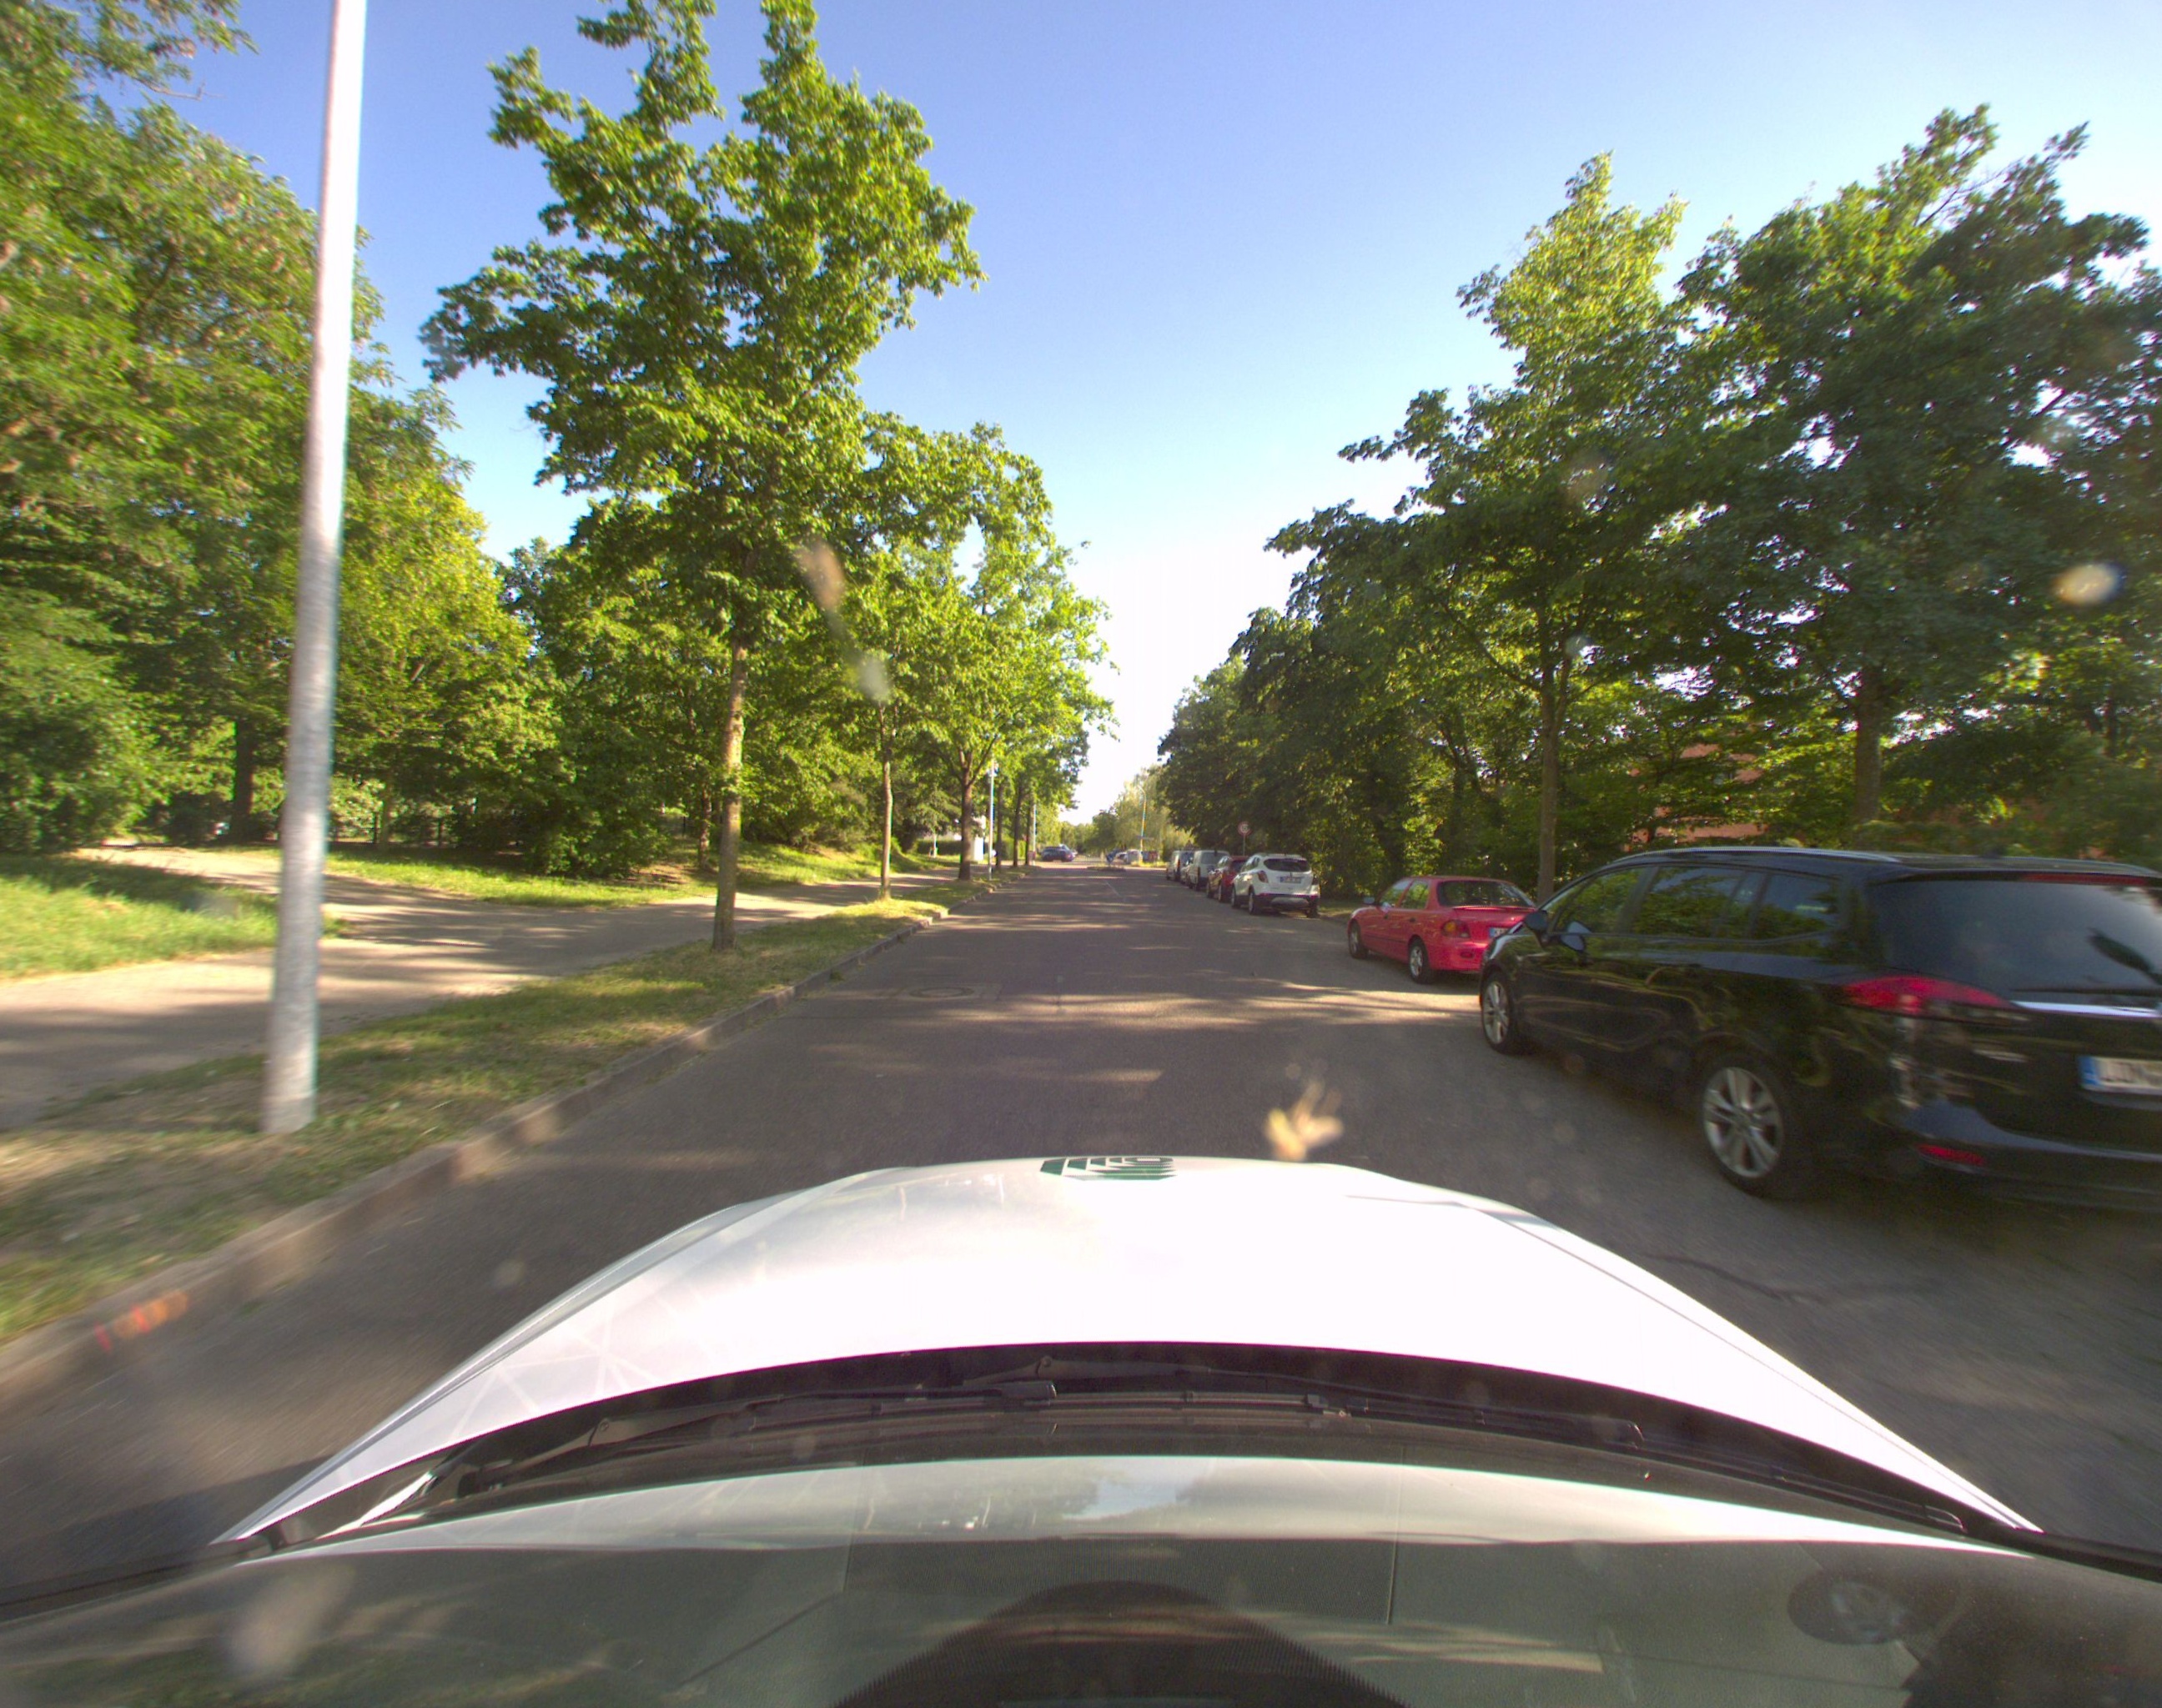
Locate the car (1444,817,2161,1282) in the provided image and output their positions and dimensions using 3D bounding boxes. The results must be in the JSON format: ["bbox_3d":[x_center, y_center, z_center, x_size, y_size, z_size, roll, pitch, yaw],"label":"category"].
[{"bbox_3d":[4.091,0.743,5.203,1.802,1.651,4.426,3,0,5],"label":"car"}]

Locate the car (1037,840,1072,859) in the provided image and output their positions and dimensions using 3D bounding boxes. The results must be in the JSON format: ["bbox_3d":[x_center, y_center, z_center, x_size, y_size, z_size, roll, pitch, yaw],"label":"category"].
[{"bbox_3d":[-4.156,-0.711,126.473,5.190,2.621,2.290,3,0,-5],"label":"car"}]

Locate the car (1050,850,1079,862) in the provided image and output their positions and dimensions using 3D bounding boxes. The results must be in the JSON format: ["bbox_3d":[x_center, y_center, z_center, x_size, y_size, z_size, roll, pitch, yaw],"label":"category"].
[{"bbox_3d":[-2.363,0.289,117.521,4.090,1.576,1.960,3,0,2],"label":"car"}]

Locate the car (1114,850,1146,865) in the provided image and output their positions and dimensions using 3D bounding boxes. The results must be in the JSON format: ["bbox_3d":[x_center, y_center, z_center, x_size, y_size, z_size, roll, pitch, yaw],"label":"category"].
[{"bbox_3d":[6.005,0.400,99.500,3.818,1.576,1.692,3,0,7],"label":"car"}]

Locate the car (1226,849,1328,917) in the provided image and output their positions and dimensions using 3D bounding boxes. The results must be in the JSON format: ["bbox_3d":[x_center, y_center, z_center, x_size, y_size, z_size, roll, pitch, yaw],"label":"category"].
[{"bbox_3d":[5.365,0.737,22.847,1.770,1.621,4.063,3,0,-1],"label":"car"}]

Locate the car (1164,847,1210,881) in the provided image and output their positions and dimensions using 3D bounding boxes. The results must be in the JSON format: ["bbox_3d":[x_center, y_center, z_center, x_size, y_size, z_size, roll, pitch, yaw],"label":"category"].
[{"bbox_3d":[6.074,0.549,47.272,1.786,1.785,4.552,3,0,-3],"label":"car"}]

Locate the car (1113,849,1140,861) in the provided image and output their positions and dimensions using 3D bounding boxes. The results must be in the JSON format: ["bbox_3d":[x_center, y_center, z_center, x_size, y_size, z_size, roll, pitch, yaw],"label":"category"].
[{"bbox_3d":[6.845,0.178,122.111,3.818,1.576,1.692,3,0,7],"label":"car"}]

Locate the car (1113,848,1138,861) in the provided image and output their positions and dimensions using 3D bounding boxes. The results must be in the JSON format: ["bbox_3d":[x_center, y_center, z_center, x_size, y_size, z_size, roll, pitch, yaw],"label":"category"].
[{"bbox_3d":[7.233,0.111,131.442,3.820,1.795,1.691,3,0,5],"label":"car"}]

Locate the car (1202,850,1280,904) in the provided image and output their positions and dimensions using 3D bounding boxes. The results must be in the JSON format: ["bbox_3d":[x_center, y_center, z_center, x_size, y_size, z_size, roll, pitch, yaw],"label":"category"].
[{"bbox_3d":[5.446,0.730,28.168,1.770,1.621,4.063,3,0,-1],"label":"car"}]

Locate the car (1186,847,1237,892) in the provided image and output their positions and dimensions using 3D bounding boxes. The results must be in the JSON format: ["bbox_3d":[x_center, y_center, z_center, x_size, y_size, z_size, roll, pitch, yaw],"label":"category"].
[{"bbox_3d":[5.707,0.650,36.034,1.617,1.773,3.669,3,0,1],"label":"car"}]

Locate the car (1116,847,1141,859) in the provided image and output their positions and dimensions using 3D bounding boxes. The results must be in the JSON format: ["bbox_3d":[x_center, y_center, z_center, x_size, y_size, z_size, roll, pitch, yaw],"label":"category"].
[{"bbox_3d":[7.318,-0.162,125.241,3.820,1.576,1.691,3,0,5],"label":"car"}]

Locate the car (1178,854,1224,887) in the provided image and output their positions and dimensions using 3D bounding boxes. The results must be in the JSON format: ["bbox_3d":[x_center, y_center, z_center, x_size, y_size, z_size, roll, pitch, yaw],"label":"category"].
[{"bbox_3d":[6.009,0.794,41.125,1.685,1.512,4.207,3,0,1],"label":"car"}]

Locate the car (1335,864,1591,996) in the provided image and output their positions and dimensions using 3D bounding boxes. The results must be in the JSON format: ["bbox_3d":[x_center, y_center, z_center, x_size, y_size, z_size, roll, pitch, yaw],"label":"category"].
[{"bbox_3d":[5.079,0.904,11.526,1.656,1.375,4.155,3,0,0],"label":"car"}]

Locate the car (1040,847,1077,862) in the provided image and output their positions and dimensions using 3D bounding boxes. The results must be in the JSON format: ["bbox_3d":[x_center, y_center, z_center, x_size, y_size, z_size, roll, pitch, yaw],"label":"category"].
[{"bbox_3d":[-2.748,0.068,101.217,4.295,1.576,2.050,3,0,7],"label":"car"}]

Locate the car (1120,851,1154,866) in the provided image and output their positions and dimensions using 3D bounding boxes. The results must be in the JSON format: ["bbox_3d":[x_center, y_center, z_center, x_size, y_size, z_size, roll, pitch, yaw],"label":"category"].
[{"bbox_3d":[6.621,0.490,96.674,3.818,1.576,1.692,3,0,7],"label":"car"}]
